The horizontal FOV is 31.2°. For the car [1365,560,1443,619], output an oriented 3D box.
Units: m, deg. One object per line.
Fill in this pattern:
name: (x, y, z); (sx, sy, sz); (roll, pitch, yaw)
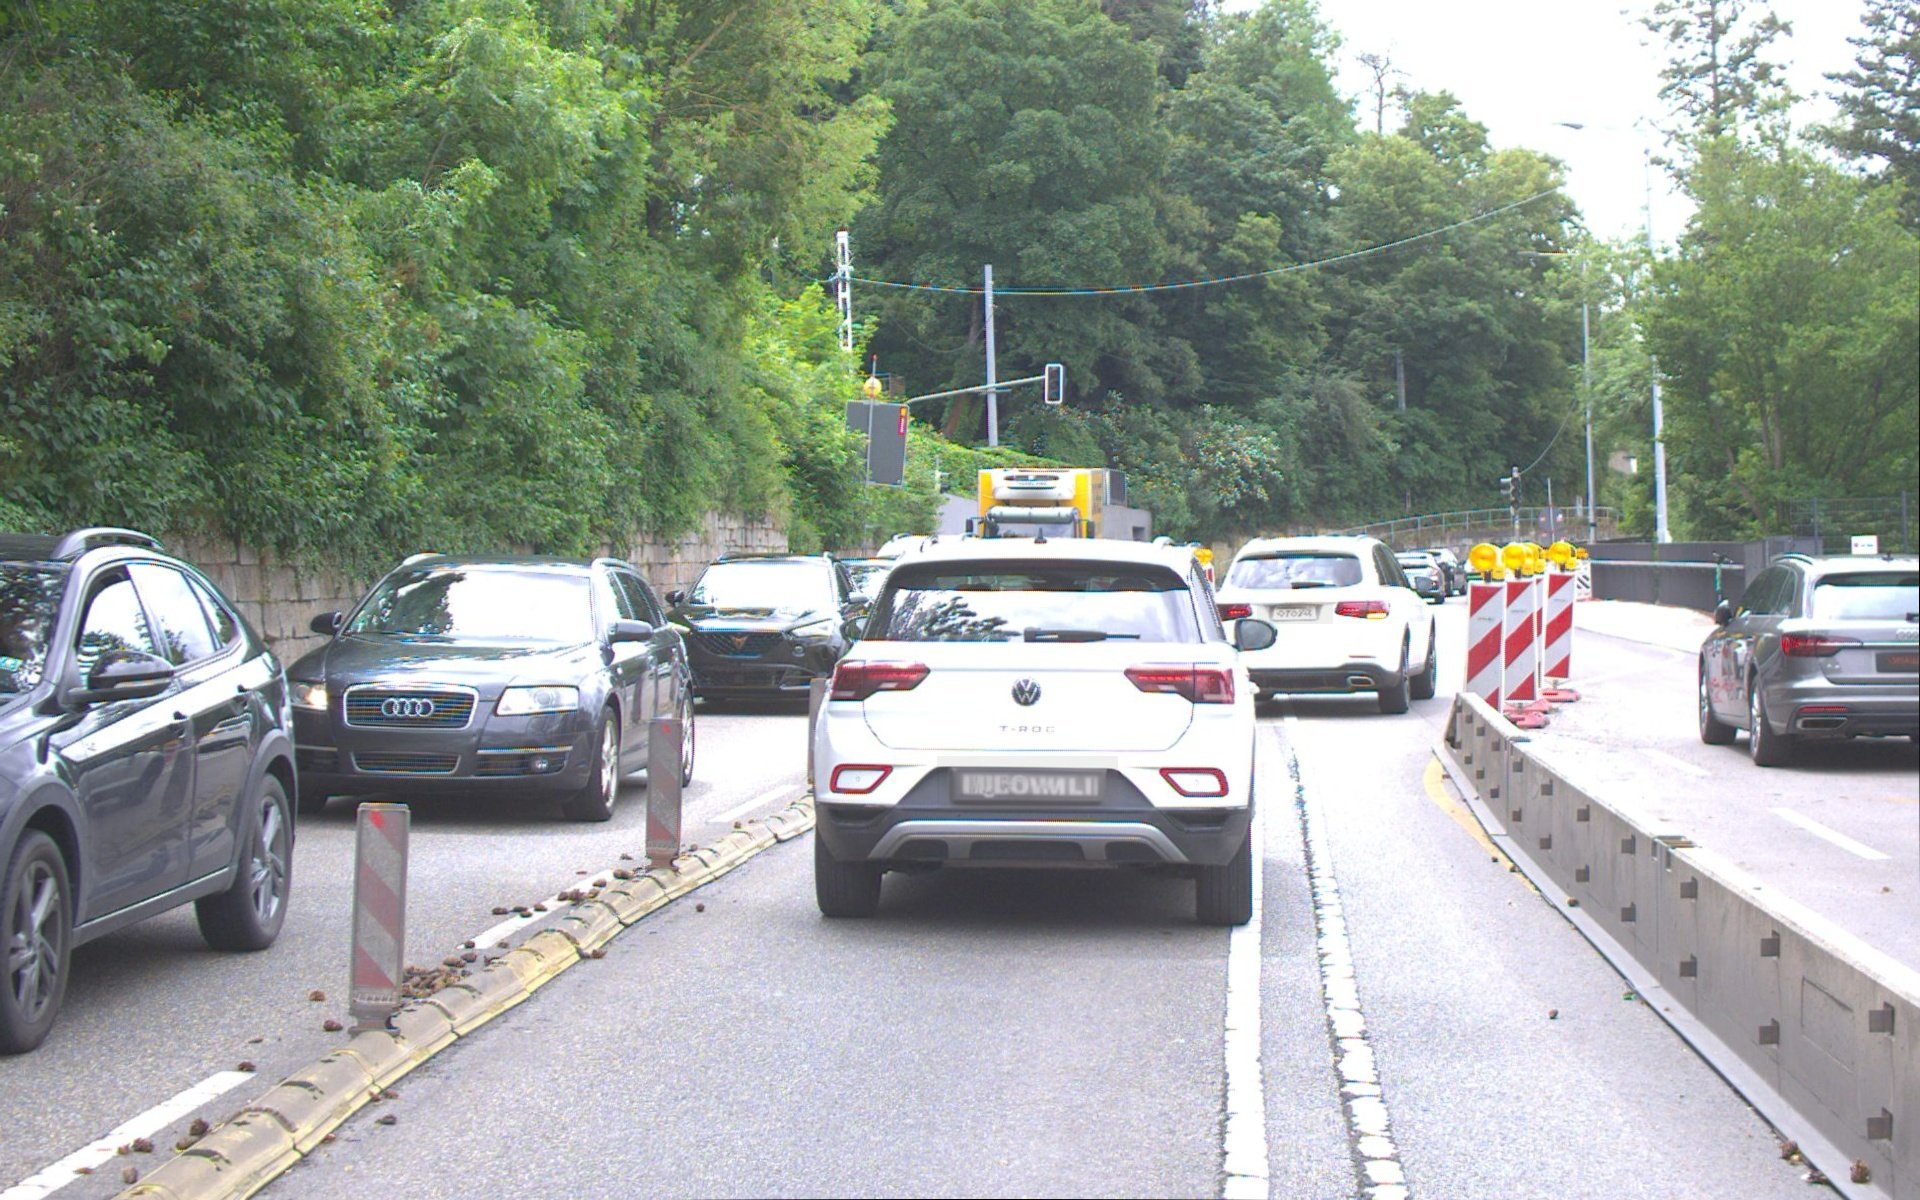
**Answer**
car: (12.259, -0.315, 95.047); (1.907, 1.568, 3.999); (1, 1, 4)

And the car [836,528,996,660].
car: (-0.584, -0.107, 49.394); (1.803, 1.784, 4.341); (1, 1, 6)

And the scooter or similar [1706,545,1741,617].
scooter or similar: (13.634, -0.347, 61.404); (0.535, 1.222, 1.206); (-2, 1, 11)

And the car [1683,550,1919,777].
car: (6.340, 0.376, 24.362); (1.840, 1.450, 4.627); (0, 1, 5)

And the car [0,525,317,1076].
car: (-3.435, 0.516, 11.016); (1.758, 1.524, 3.910); (2, 1, 4)

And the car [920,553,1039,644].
car: (0.372, -0.046, 59.812); (1.791, 1.502, 4.311); (1, 1, 4)

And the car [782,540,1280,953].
car: (0.416, 0.525, 14.913); (1.867, 1.531, 3.803); (1, 1, 5)

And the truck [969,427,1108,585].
truck: (1.896, -2.125, 80.288); (2.731, 3.498, 7.349); (-1, 0, 5)

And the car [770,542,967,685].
car: (-1.023, 0.133, 41.023); (1.831, 1.587, 4.654); (1, 1, 5)

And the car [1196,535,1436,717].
car: (3.427, 0.214, 32.515); (1.994, 1.581, 3.998); (1, 1, 9)

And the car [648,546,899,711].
car: (-1.746, 0.239, 33.579); (1.829, 1.480, 4.317); (1, 1, 5)

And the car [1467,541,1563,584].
car: (21.101, -1.432, 130.666); (1.911, 1.568, 3.991); (1, 1, 37)

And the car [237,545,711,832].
car: (-2.682, 0.421, 20.027); (1.791, 1.459, 4.509); (1, 1, 4)

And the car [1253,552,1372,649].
car: (5.984, -0.006, 58.745); (1.907, 1.568, 3.999); (1, 1, 4)
